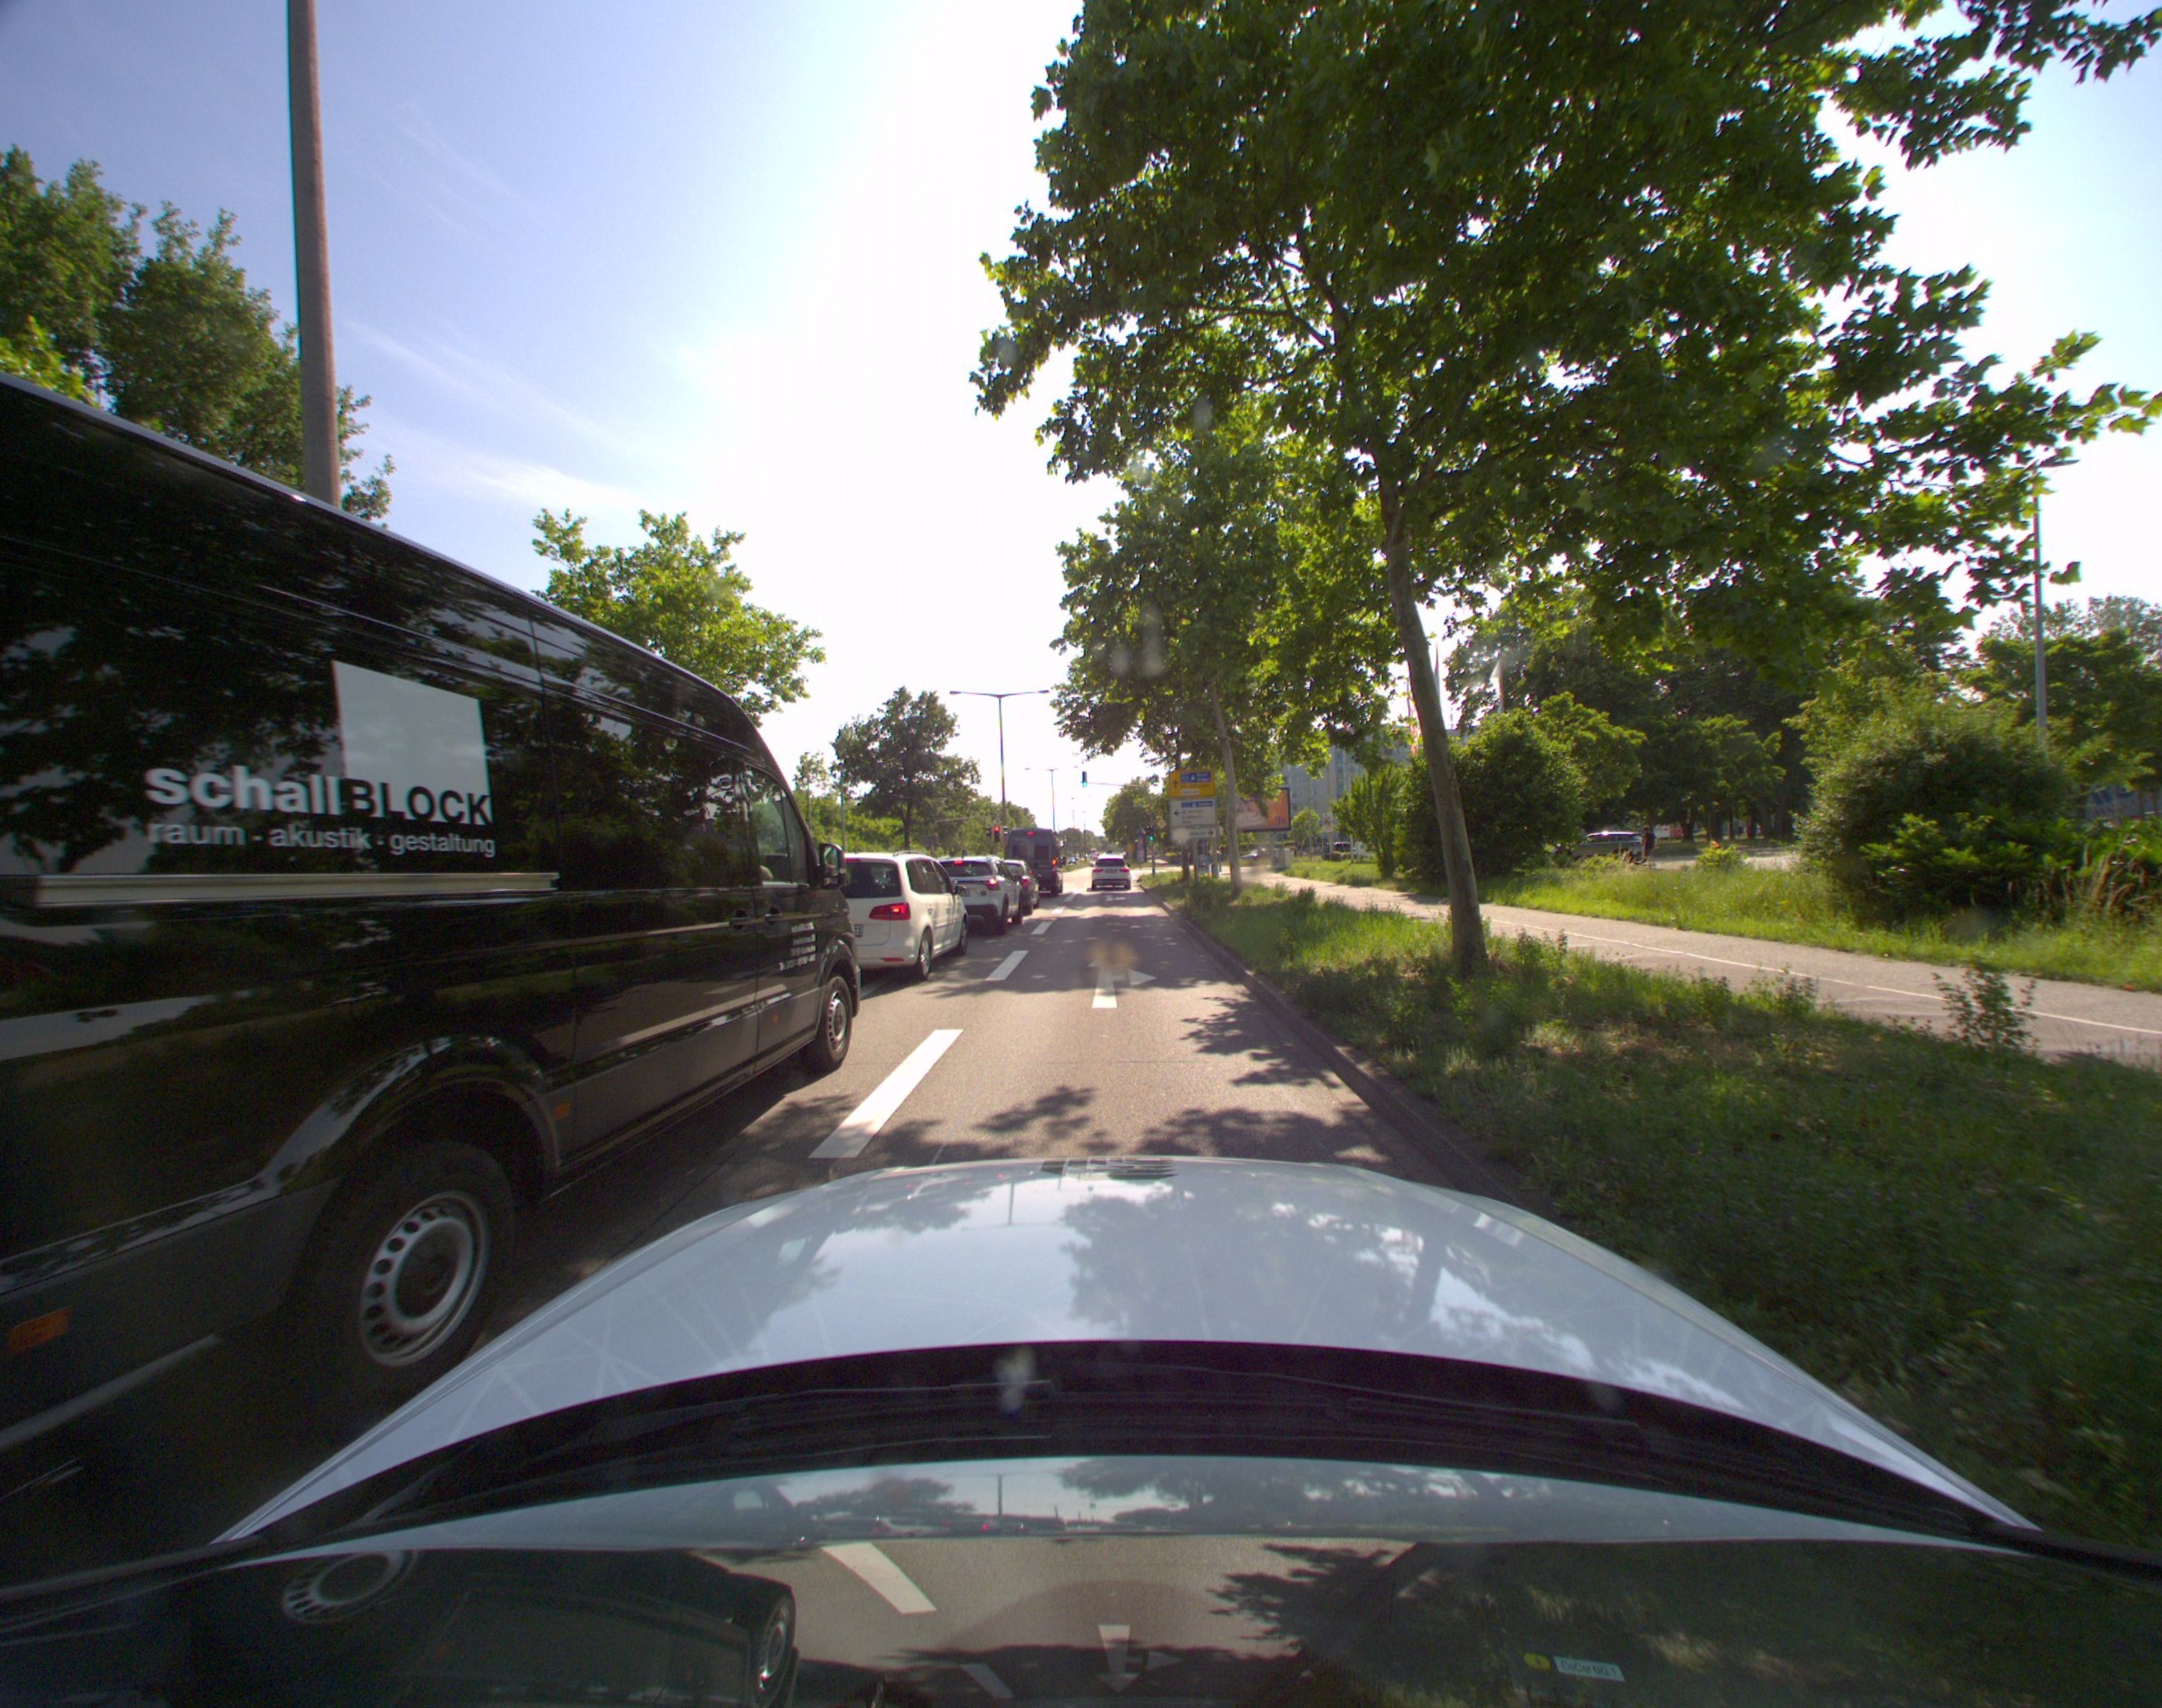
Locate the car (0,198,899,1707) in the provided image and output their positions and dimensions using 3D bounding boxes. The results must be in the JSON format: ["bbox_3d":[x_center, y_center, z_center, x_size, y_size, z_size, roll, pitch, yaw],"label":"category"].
[{"bbox_3d":[-2.751,0.212,4.111,2.008,2.607,6.171,-1,-1,2],"label":"car"}]

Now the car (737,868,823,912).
[{"bbox_3d":[-11.931,1.387,32.548,1.732,1.486,4.159,-4,0,1],"label":"car"}]

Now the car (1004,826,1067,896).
[{"bbox_3d":[-1.794,0.315,33.503,2.073,2.657,4.877,0,-1,3],"label":"car"}]

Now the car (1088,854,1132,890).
[{"bbox_3d":[1.424,0.823,38.835,1.845,1.607,4.006,-1,0,5],"label":"car"}]

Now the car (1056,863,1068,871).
[{"bbox_3d":[-2.708,1.815,115.894,1.364,1.112,3.208,-2,-1,2],"label":"car"}]

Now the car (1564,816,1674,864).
[{"bbox_3d":[24.527,-0.590,37.220,2.011,2.014,3.750,-1,-1,-41],"label":"car"}]

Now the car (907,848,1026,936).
[{"bbox_3d":[-2.319,0.757,17.514,1.764,1.647,4.087,-1,-1,3],"label":"car"}]

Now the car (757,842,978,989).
[{"bbox_3d":[-2.711,0.736,11.466,1.764,1.647,4.354,-1,-1,3],"label":"car"}]

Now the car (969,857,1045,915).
[{"bbox_3d":[-2.028,0.856,23.364,1.685,1.505,3.887,0,-1,2],"label":"car"}]
